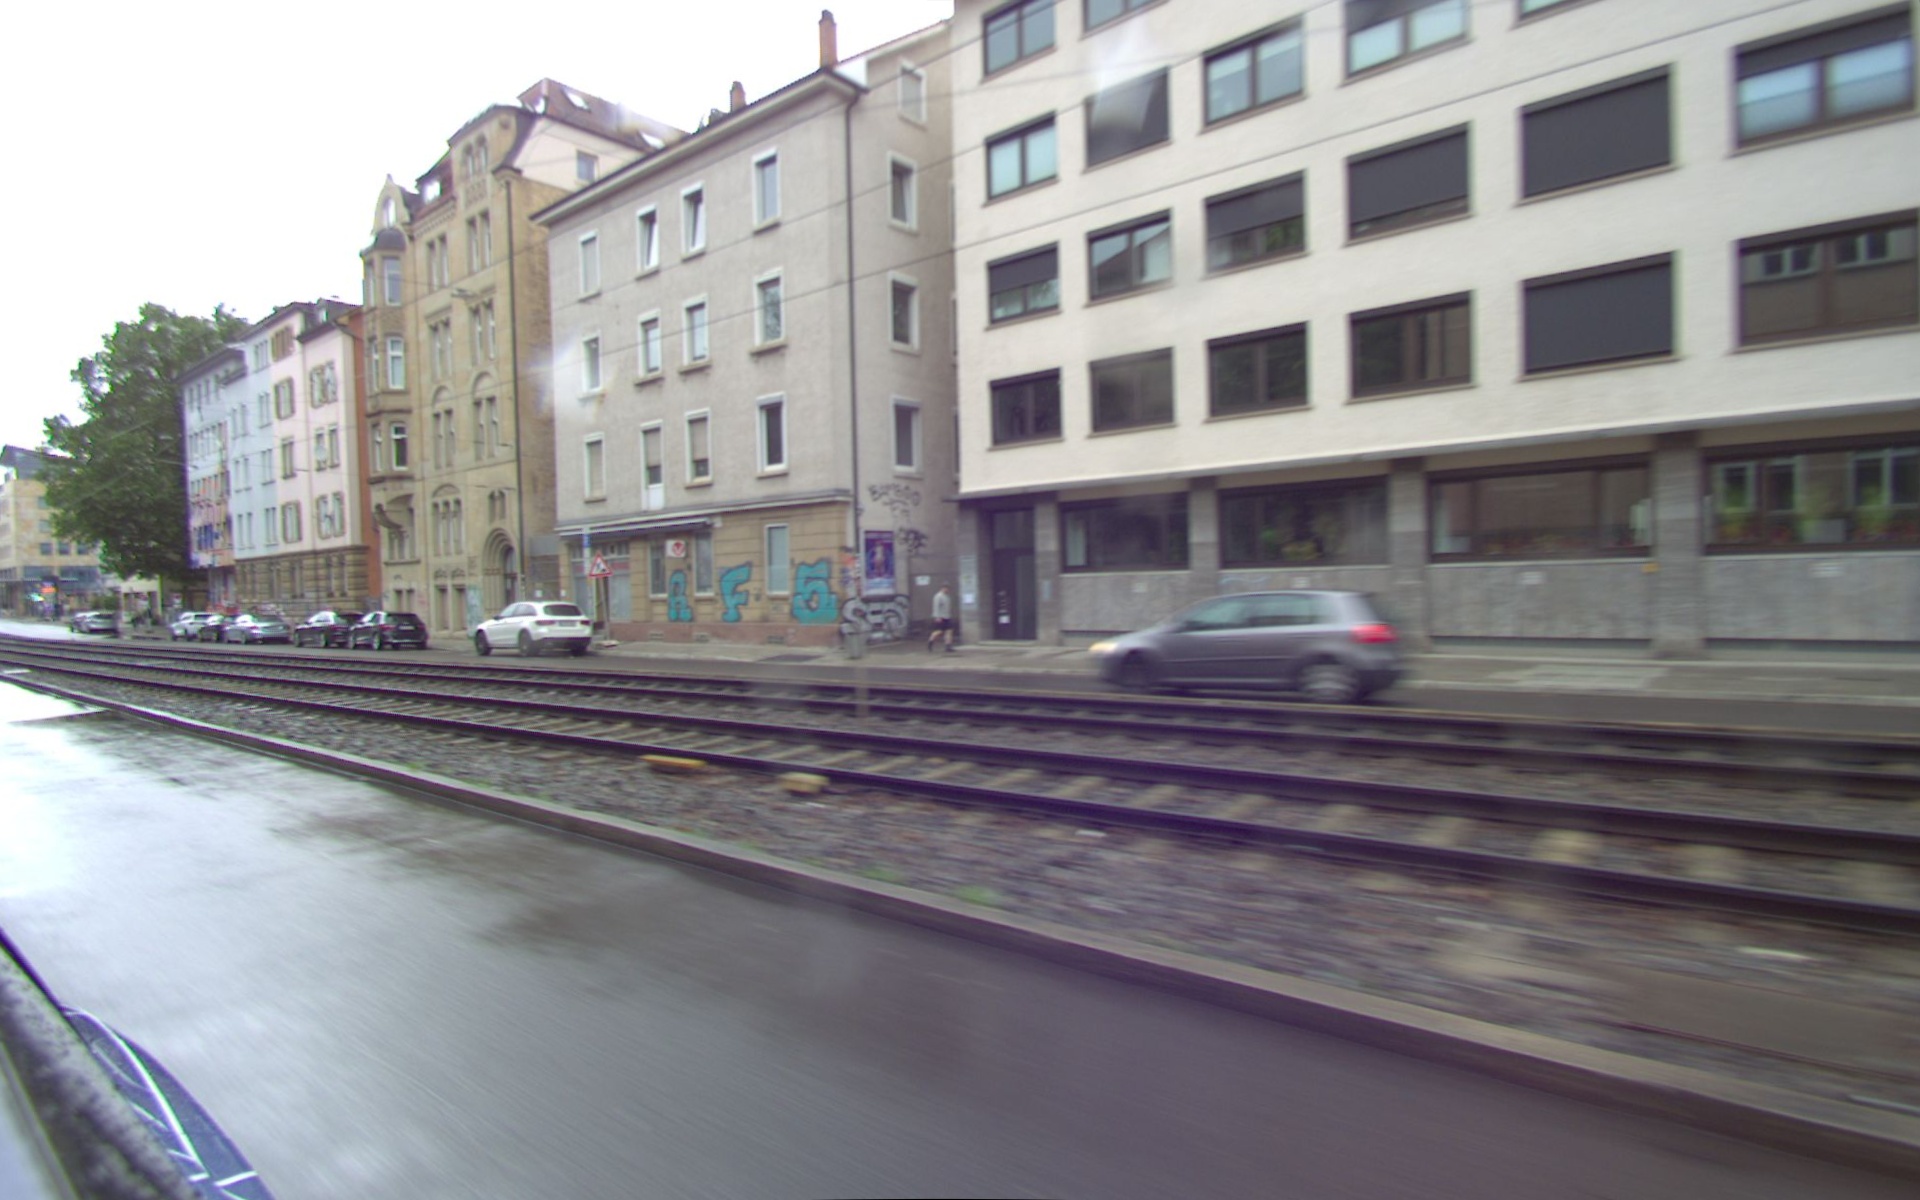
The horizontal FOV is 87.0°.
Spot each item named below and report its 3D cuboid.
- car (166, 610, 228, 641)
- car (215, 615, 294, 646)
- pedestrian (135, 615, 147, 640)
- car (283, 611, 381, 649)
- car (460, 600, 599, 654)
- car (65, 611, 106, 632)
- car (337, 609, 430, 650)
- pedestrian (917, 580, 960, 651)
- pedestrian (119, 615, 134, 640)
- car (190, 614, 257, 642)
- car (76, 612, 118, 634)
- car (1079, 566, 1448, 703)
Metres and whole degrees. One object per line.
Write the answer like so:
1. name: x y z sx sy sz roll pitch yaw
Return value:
1. car: -42.389 1.402 56.198 4.224 1.617 1.820 -1 -1 39
2. car: -34.143 1.452 48.919 5.019 1.408 1.973 -1 -2 41
3. pedestrian: -62.592 2.120 77.345 0.536 1.883 0.642 -2 0 44
4. car: -26.064 1.228 41.946 5.018 1.467 1.973 -1 -2 40
5. car: -13.212 0.822 30.963 4.745 1.548 1.973 -1 -2 40
6. car: -67.479 1.652 78.062 4.226 1.553 1.819 -1 -1 41
7. car: -21.943 1.104 38.452 4.167 1.467 1.719 -1 -2 40
8. pedestrian: -0.513 0.369 24.065 0.798 1.624 0.541 -1 4 43
9. pedestrian: -63.178 2.091 76.728 0.536 1.883 0.798 -2 0 44
10. car: -38.219 1.428 52.474 4.261 1.408 1.820 -1 -1 39
11. car: -63.957 1.695 74.974 4.226 1.553 1.819 -1 -1 41
12. car: 3.953 0.438 13.502 4.342 1.548 1.921 -1 -2 37
